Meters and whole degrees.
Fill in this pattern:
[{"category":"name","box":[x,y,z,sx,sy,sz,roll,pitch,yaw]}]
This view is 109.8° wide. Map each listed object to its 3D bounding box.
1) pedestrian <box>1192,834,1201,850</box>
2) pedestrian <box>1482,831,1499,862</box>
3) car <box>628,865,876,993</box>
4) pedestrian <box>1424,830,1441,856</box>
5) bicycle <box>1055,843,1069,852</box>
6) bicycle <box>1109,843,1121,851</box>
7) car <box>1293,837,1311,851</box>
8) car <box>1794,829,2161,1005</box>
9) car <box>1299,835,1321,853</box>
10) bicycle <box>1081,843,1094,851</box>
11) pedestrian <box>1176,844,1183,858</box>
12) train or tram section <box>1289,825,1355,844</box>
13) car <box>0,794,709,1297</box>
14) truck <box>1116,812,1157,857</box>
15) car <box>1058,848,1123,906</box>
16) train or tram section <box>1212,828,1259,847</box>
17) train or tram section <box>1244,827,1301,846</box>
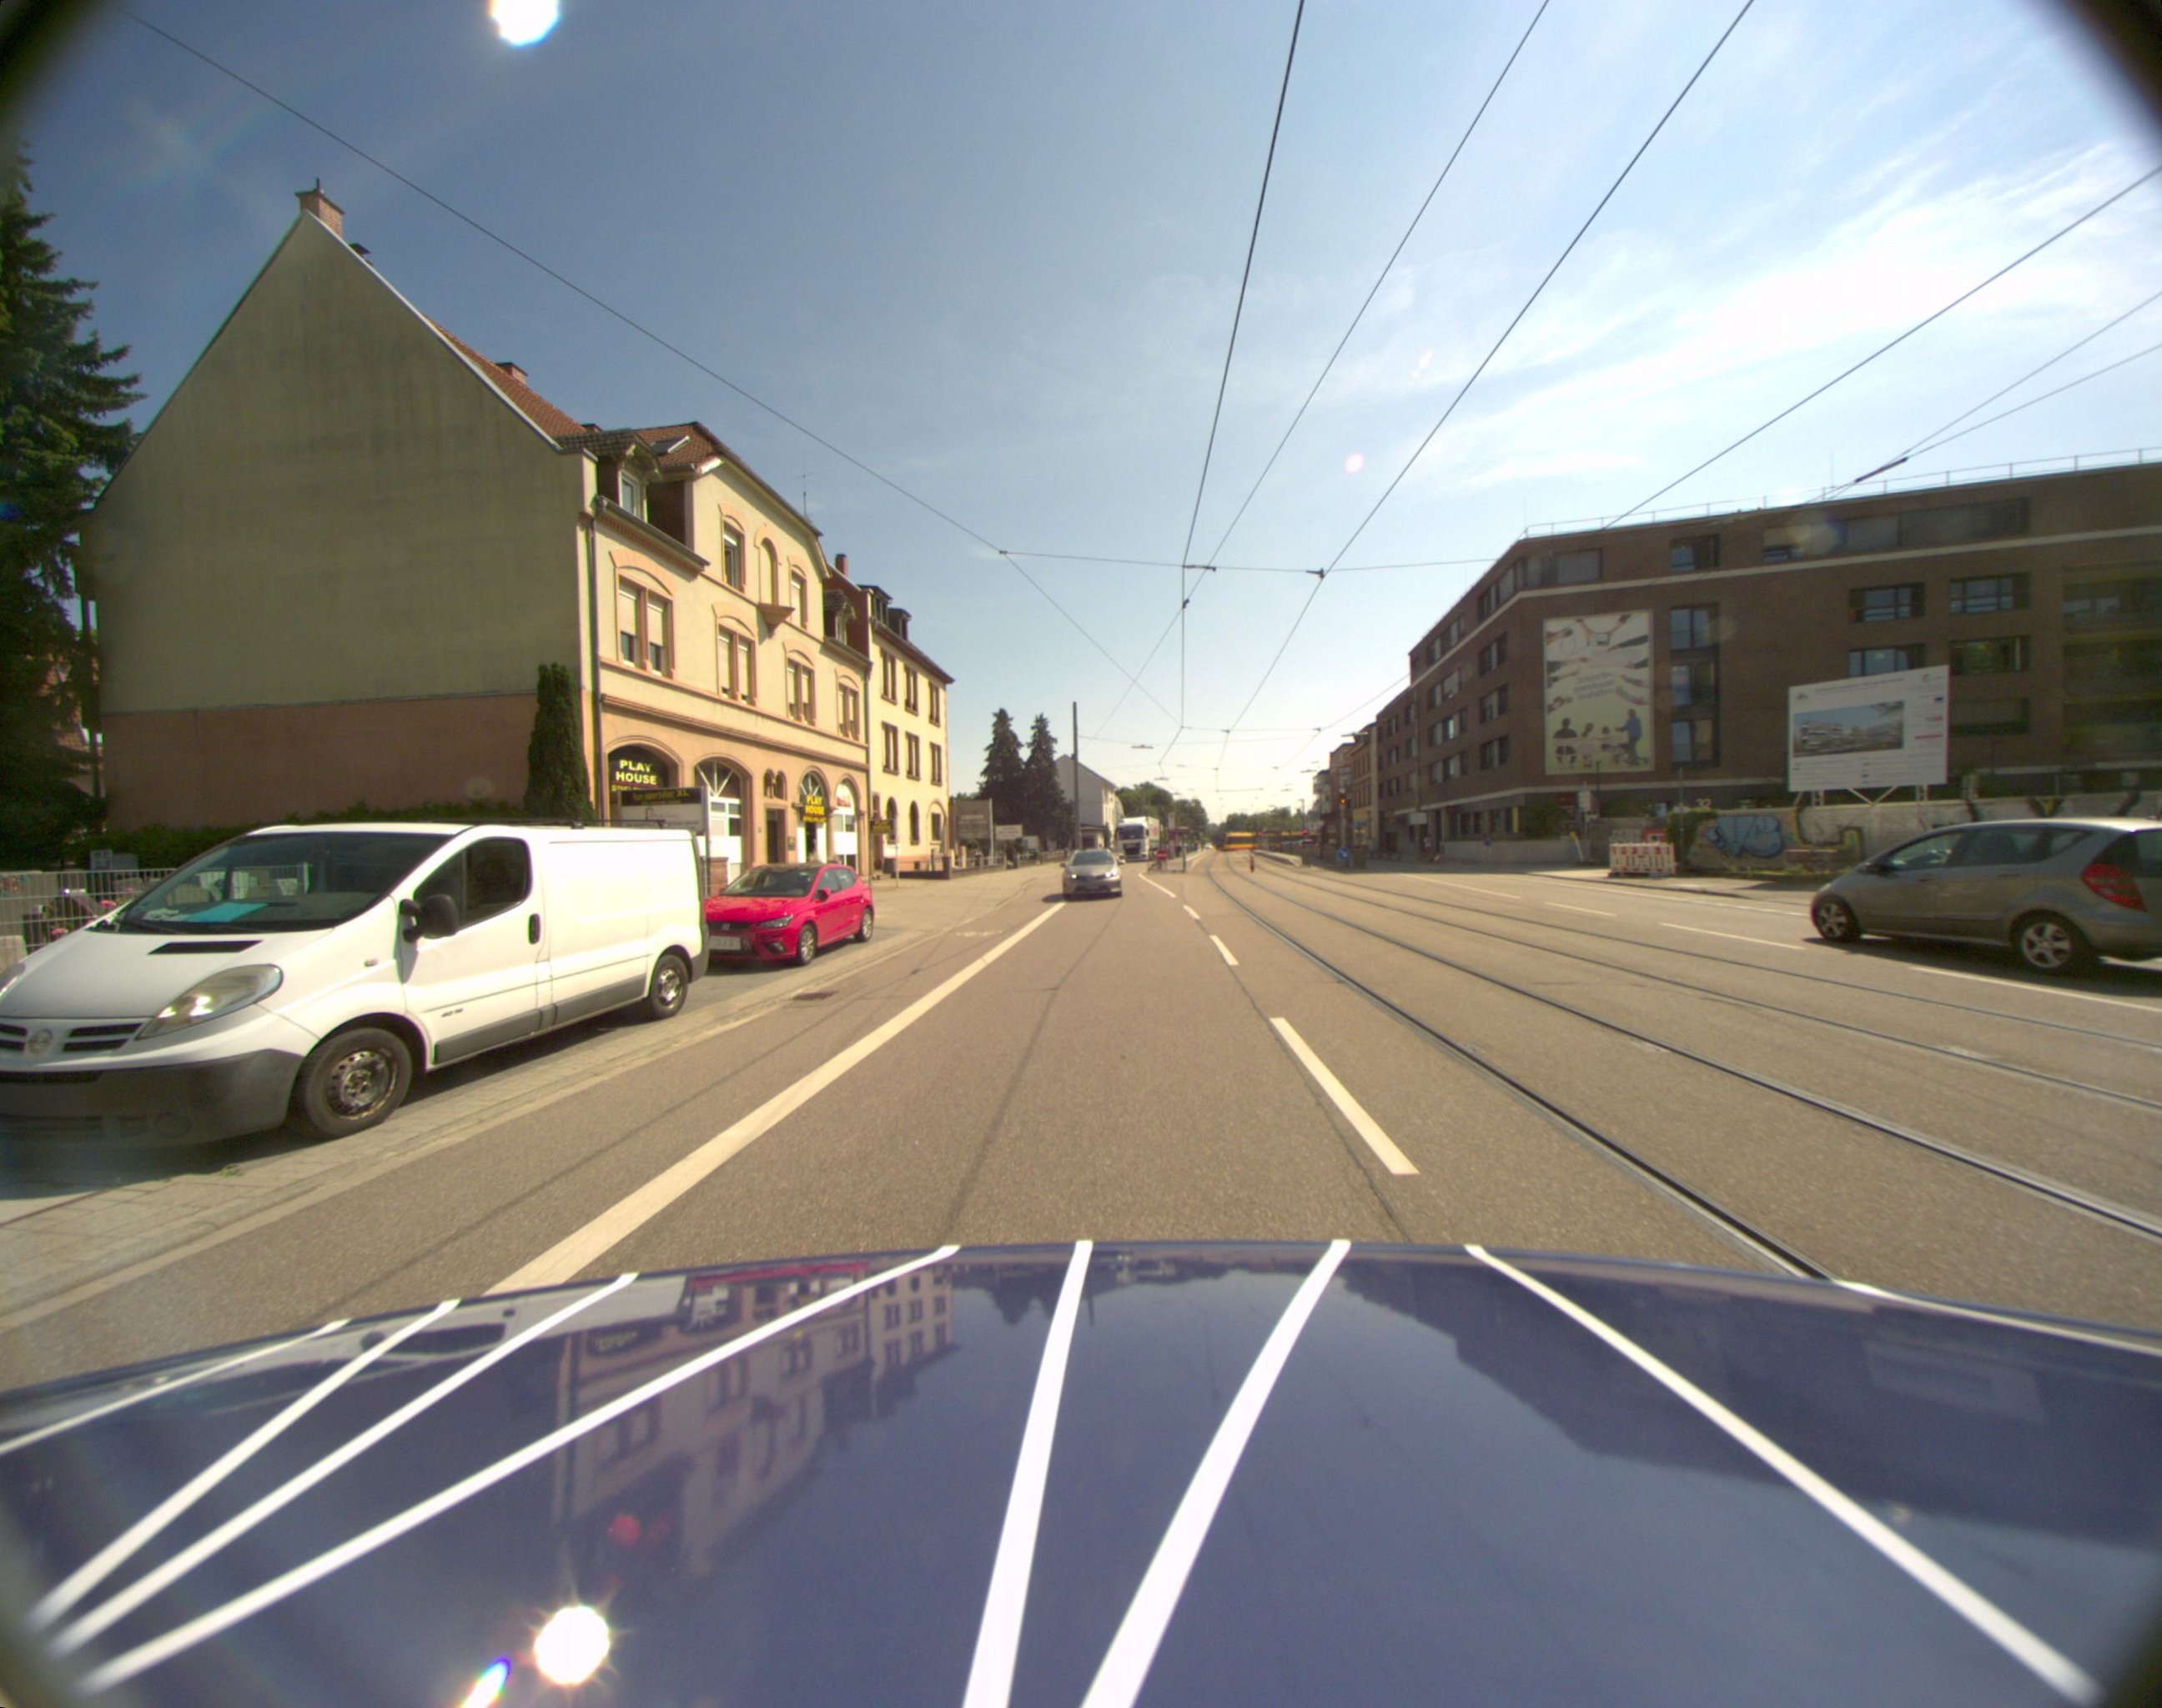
[{"category":"pedestrian","box":[14.332,-1.500,94.432,0.982,1.848,1.238,-1,1,11]},{"category":"pedestrian","box":[22.277,-0.417,41.324,0.582,1.655,0.700,-1,1,9]},{"category":"car","box":[-4.737,0.976,11.730,1.725,1.435,4.312,0,1,4]},{"category":"pedestrian","box":[24.385,-0.769,52.735,0.846,1.808,0.839,-1,1,11]},{"category":"bicycle","box":[-2.491,-0.846,97.970,1.687,1.104,0.512,0,1,12]},{"category":"bicycle","box":[4.577,-0.962,103.133,1.529,1.051,0.398,2,2,12]},{"category":"car","box":[25.880,-1.183,89.058,1.715,1.613,3.581,-2,1,11]},{"category":"car","box":[10.575,0.511,8.588,1.749,1.562,3.893,0,2,9]},{"category":"car","box":[24.229,-1.070,80.477,1.804,1.719,4.191,-3,0,11]},{"category":"bicycle","box":[0.803,-0.886,96.869,1.685,1.104,0.515,0,1,35]},{"category":"pedestrian","box":[9.264,-0.277,71.183,0.630,1.248,0.710,-1,1,10]},{"category":"train or tram section","box":[49.535,-3.974,156.090,13.342,3.461,2.685,-2,1,-12]},{"category":"car","box":[-5.193,0.768,5.699,1.981,2.043,5.192,0,0,4]},{"category":"truck","box":[5.085,-1.685,68.298,2.655,3.773,7.868,-1,1,11]},{"category":"car","box":[0.355,0.600,22.849,1.695,1.440,4.481,-3,1,3]},{"category":"train or tram section","box":[29.096,-3.145,142.576,2.681,3.460,13.364,0,2,39]},{"category":"train or tram section","box":[38.225,-3.584,151.132,13.360,3.461,2.681,-2,2,-33]}]
